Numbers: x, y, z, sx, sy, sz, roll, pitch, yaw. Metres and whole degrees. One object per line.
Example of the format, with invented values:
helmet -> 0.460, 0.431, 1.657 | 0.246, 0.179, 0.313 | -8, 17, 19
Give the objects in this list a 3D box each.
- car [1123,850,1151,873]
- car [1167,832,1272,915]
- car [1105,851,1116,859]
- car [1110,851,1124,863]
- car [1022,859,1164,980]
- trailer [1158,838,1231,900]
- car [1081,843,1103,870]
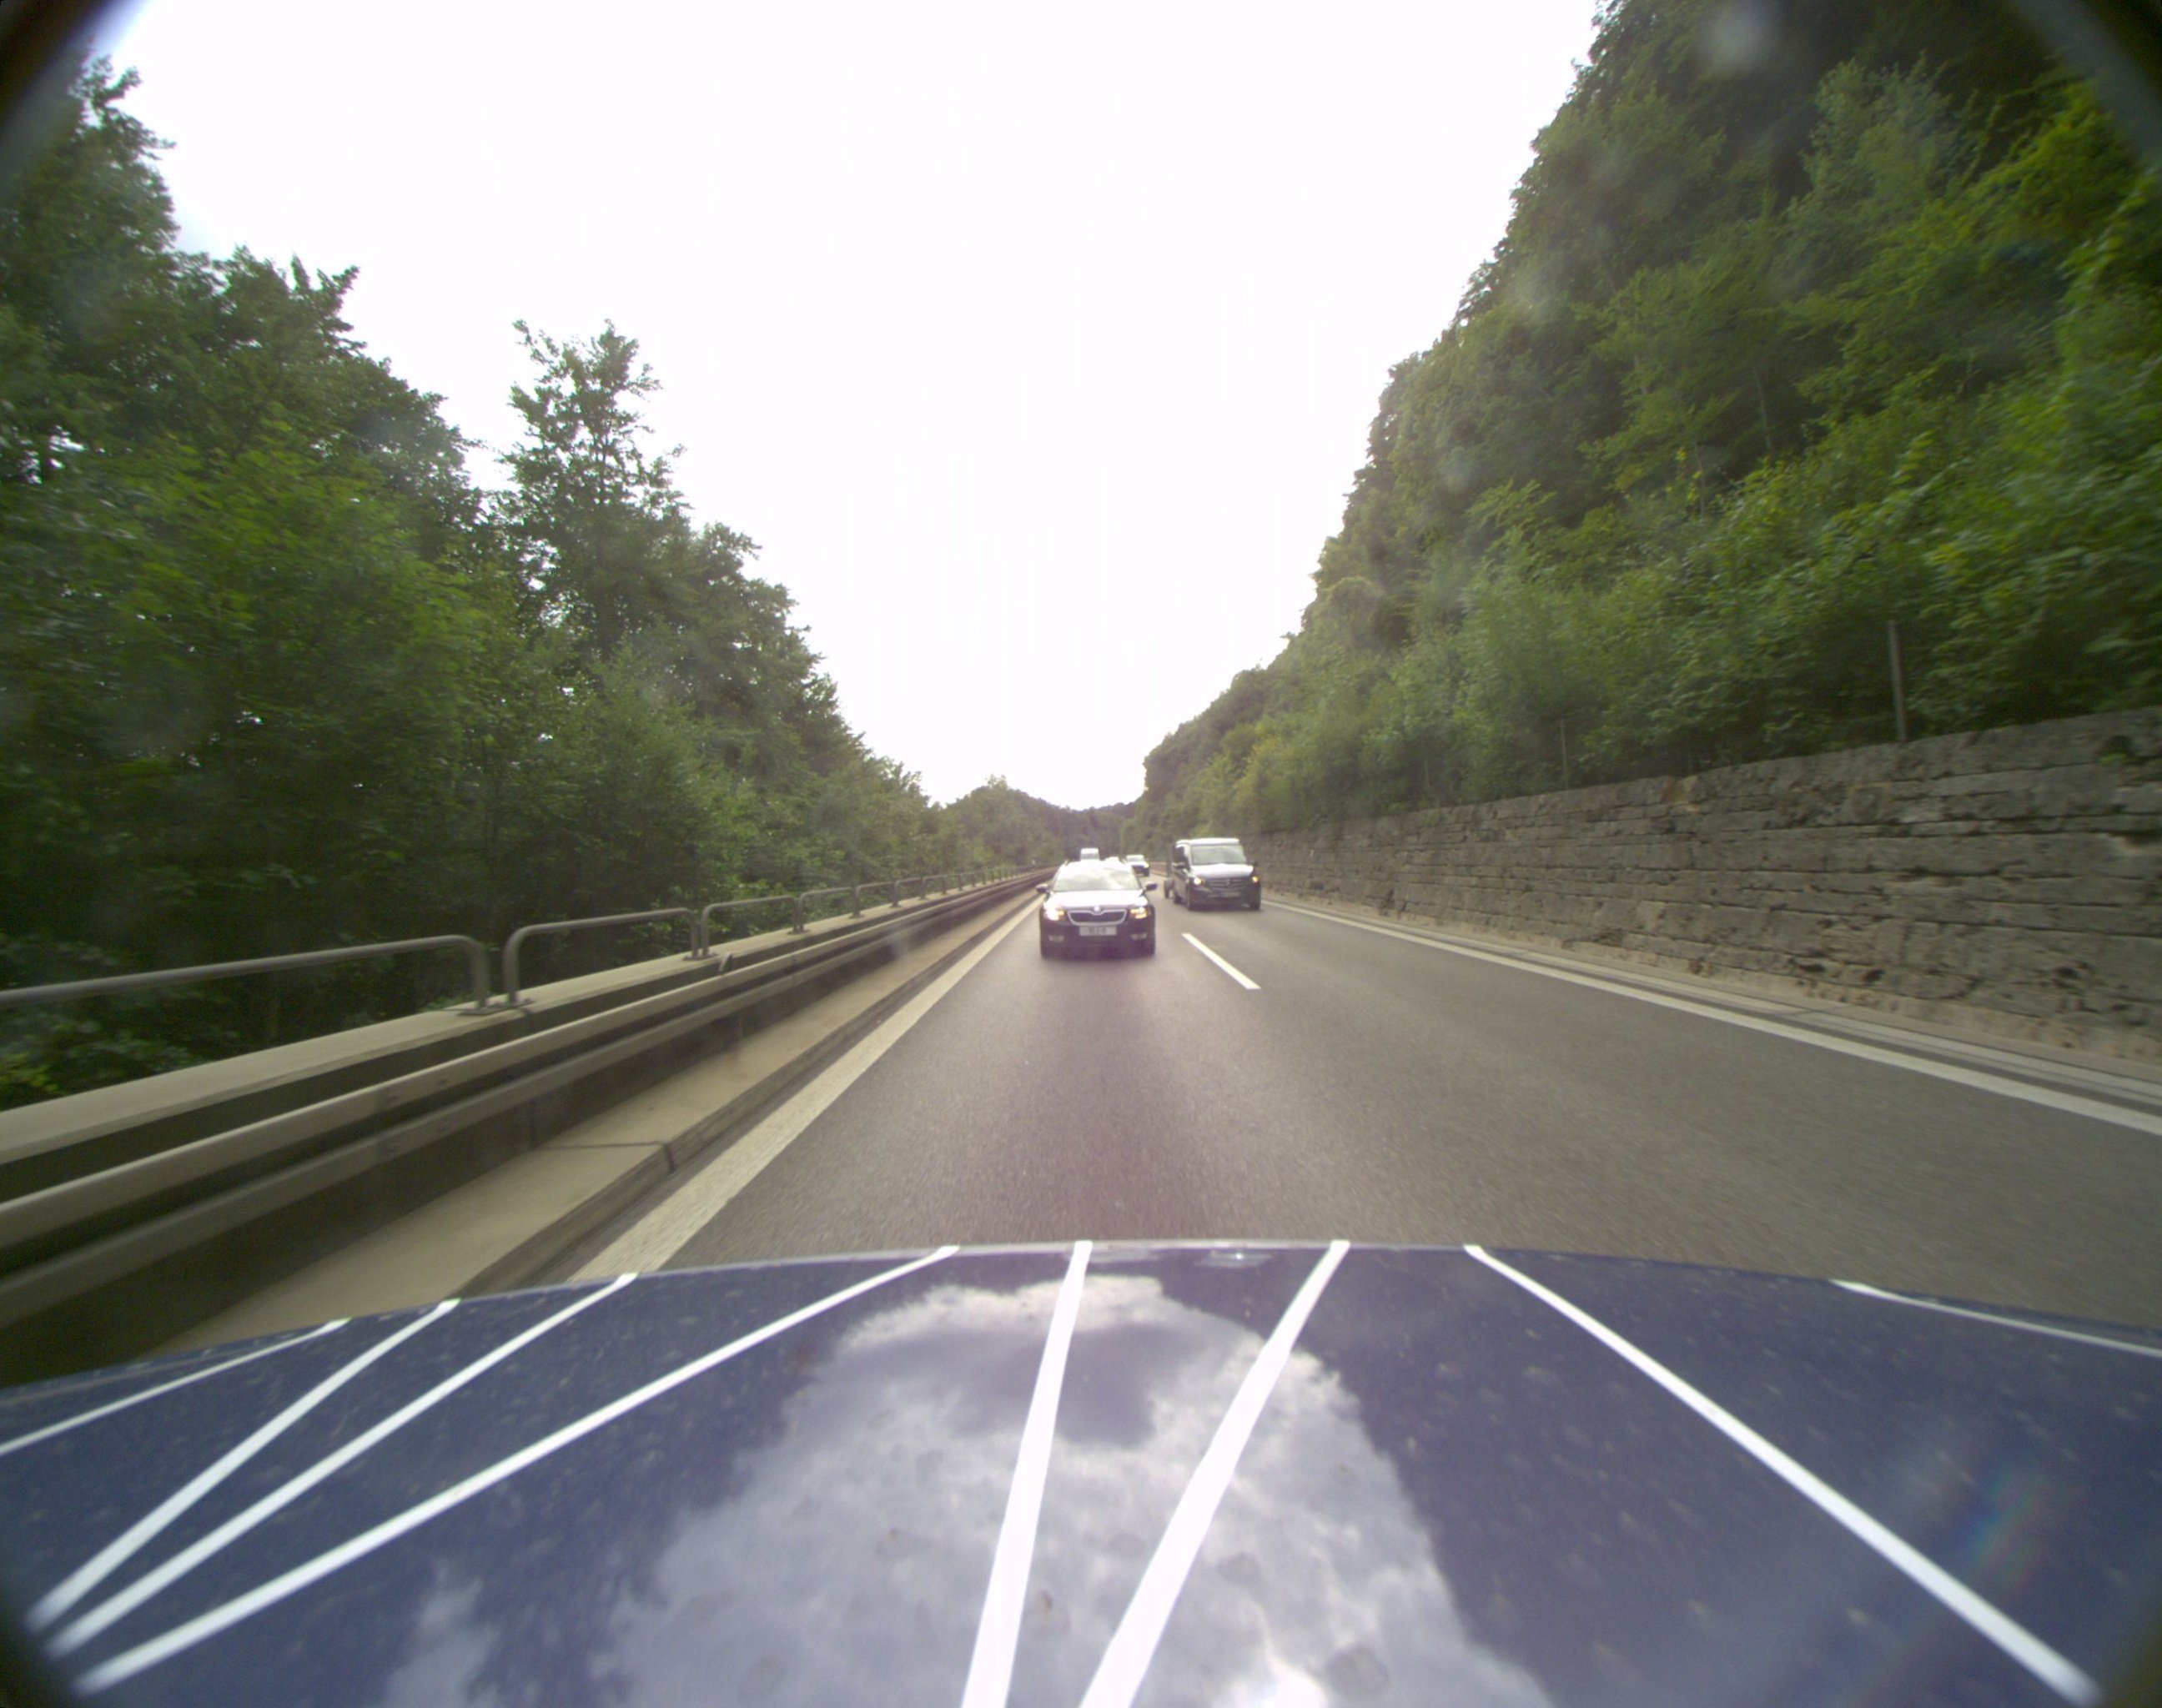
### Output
car -> 4.359, 0.545, 59.482 | 1.976, 1.584, 5.586 | -2, 0, 2
car -> 3.803, 0.493, 21.895 | 1.998, 2.002, 5.540 | -3, 0, 1
car -> 5.456, 0.207, 141.854 | 1.823, 1.546, 4.001 | 1, -1, 1
car -> 5.068, 0.459, 106.437 | 1.823, 1.546, 4.001 | 1, -1, 2
car -> 0.175, 0.828, 11.292 | 1.638, 1.384, 4.499 | -2, -1, 1
trailer -> 3.847, 0.504, 26.367 | 1.976, 1.928, 3.430 | -3, 0, 1
car -> 1.175, 0.322, 76.716 | 2.099, 2.547, 5.921 | 1, -1, 2
